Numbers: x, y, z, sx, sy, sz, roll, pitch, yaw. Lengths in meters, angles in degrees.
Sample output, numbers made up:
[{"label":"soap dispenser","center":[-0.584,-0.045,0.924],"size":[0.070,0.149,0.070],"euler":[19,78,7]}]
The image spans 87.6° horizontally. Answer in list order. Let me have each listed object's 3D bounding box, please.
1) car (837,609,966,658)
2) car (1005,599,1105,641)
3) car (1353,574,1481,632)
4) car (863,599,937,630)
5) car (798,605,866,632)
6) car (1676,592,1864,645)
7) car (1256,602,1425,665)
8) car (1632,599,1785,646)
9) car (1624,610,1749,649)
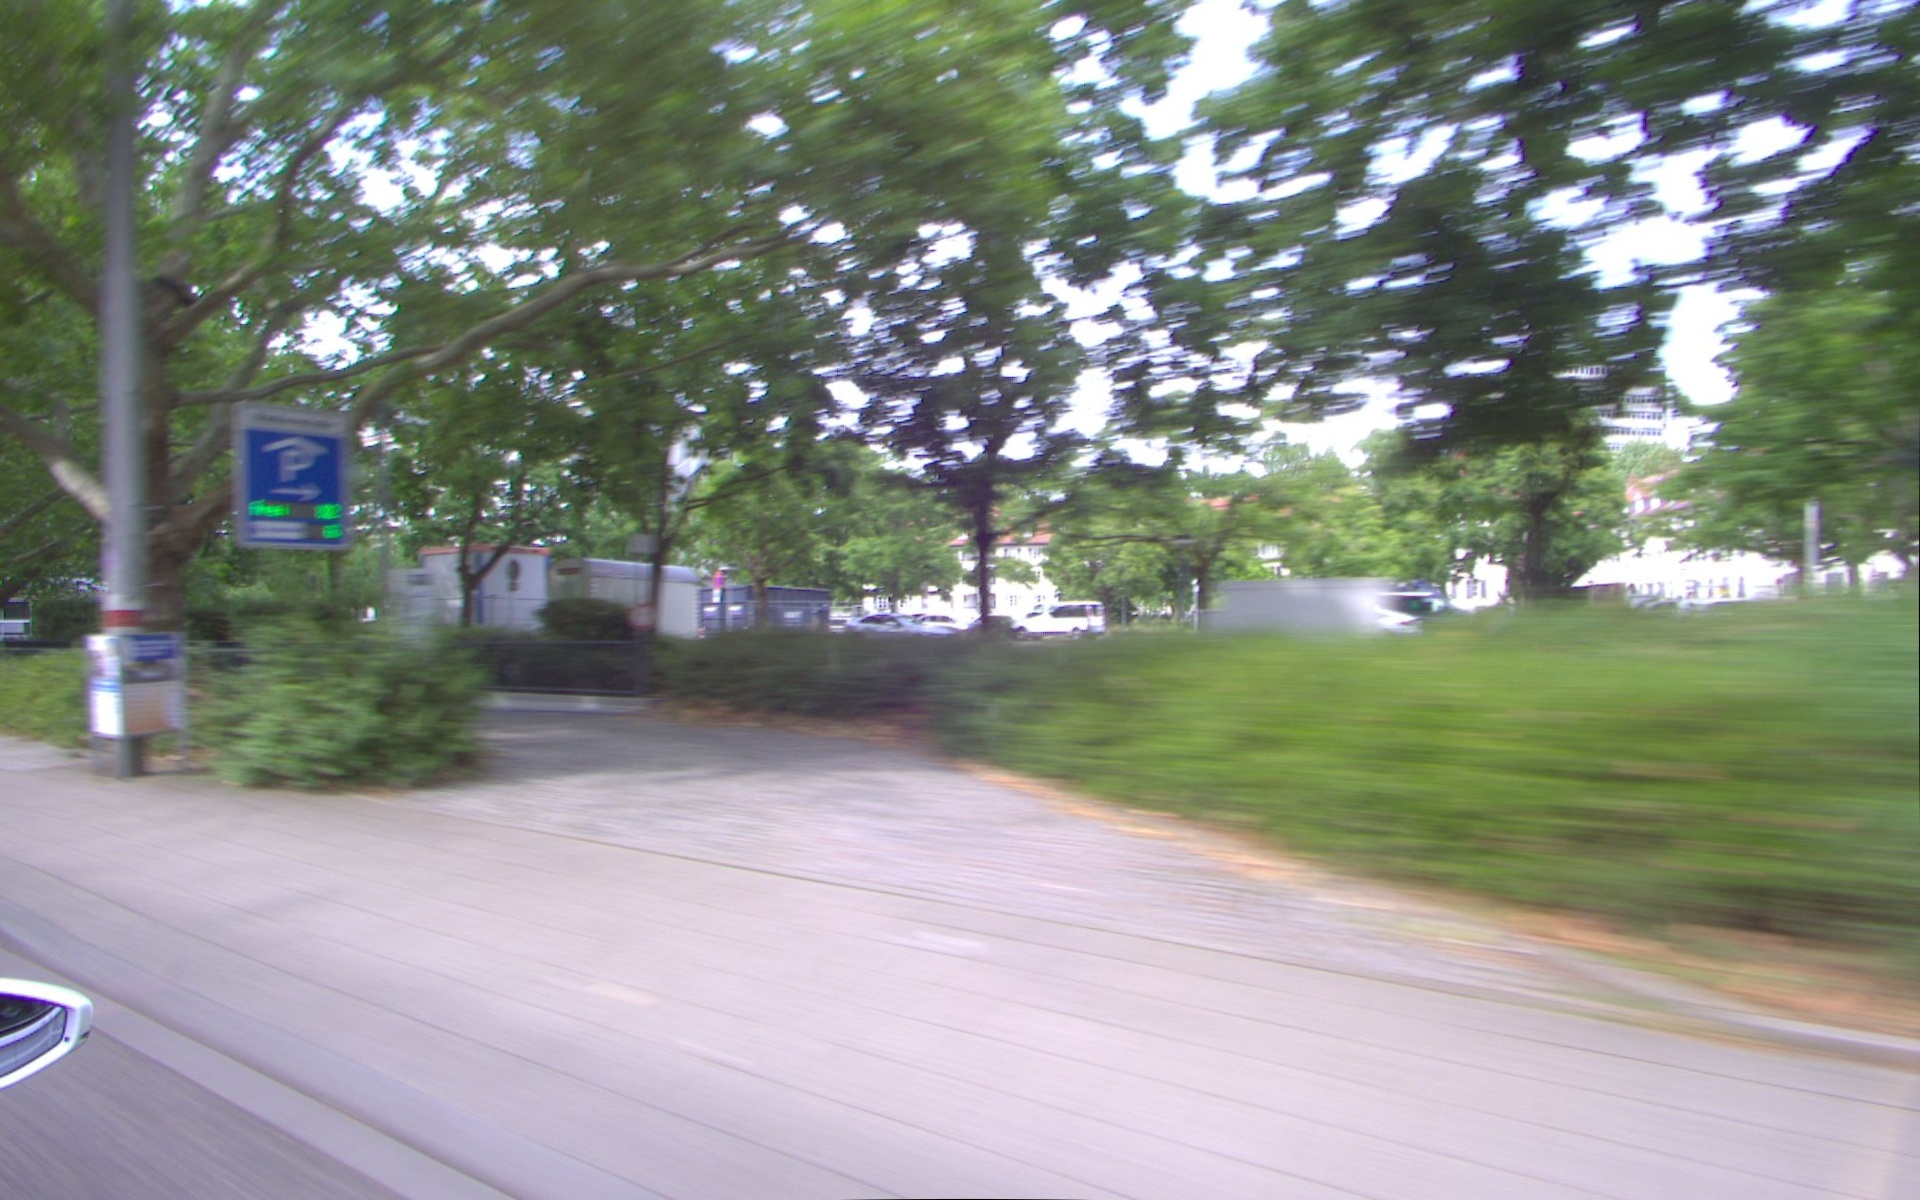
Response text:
[{"label":"car","center":[-2.286,1.291,39.098],"size":[4.701,1.817,1.992],"euler":[0,-2,29]},{"label":"car","center":[4.858,1.053,51.108],"size":[4.698,2.039,1.993],"euler":[0,-2,28]},{"label":"car","center":[21.999,0.193,48.248],"size":[5.414,2.647,2.433],"euler":[0,-2,30]},{"label":"car","center":[-4.094,1.011,68.086],"size":[4.701,2.039,1.992],"euler":[0,-2,29]},{"label":"car","center":[-7.918,1.163,61.913],"size":[3.732,1.600,1.992],"euler":[0,-2,29]},{"label":"car","center":[26.980,0.654,33.594],"size":[4.707,1.651,1.990],"euler":[-1,-2,34]},{"label":"car","center":[11.862,1.040,31.245],"size":[4.701,1.817,1.992],"euler":[0,-2,29]},{"label":"car","center":[30.168,0.939,40.567],"size":[4.701,1.817,1.992],"euler":[-1,-2,30]},{"label":"car","center":[35.175,1.447,48.648],"size":[4.701,1.817,1.992],"euler":[0,-2,29]}]
